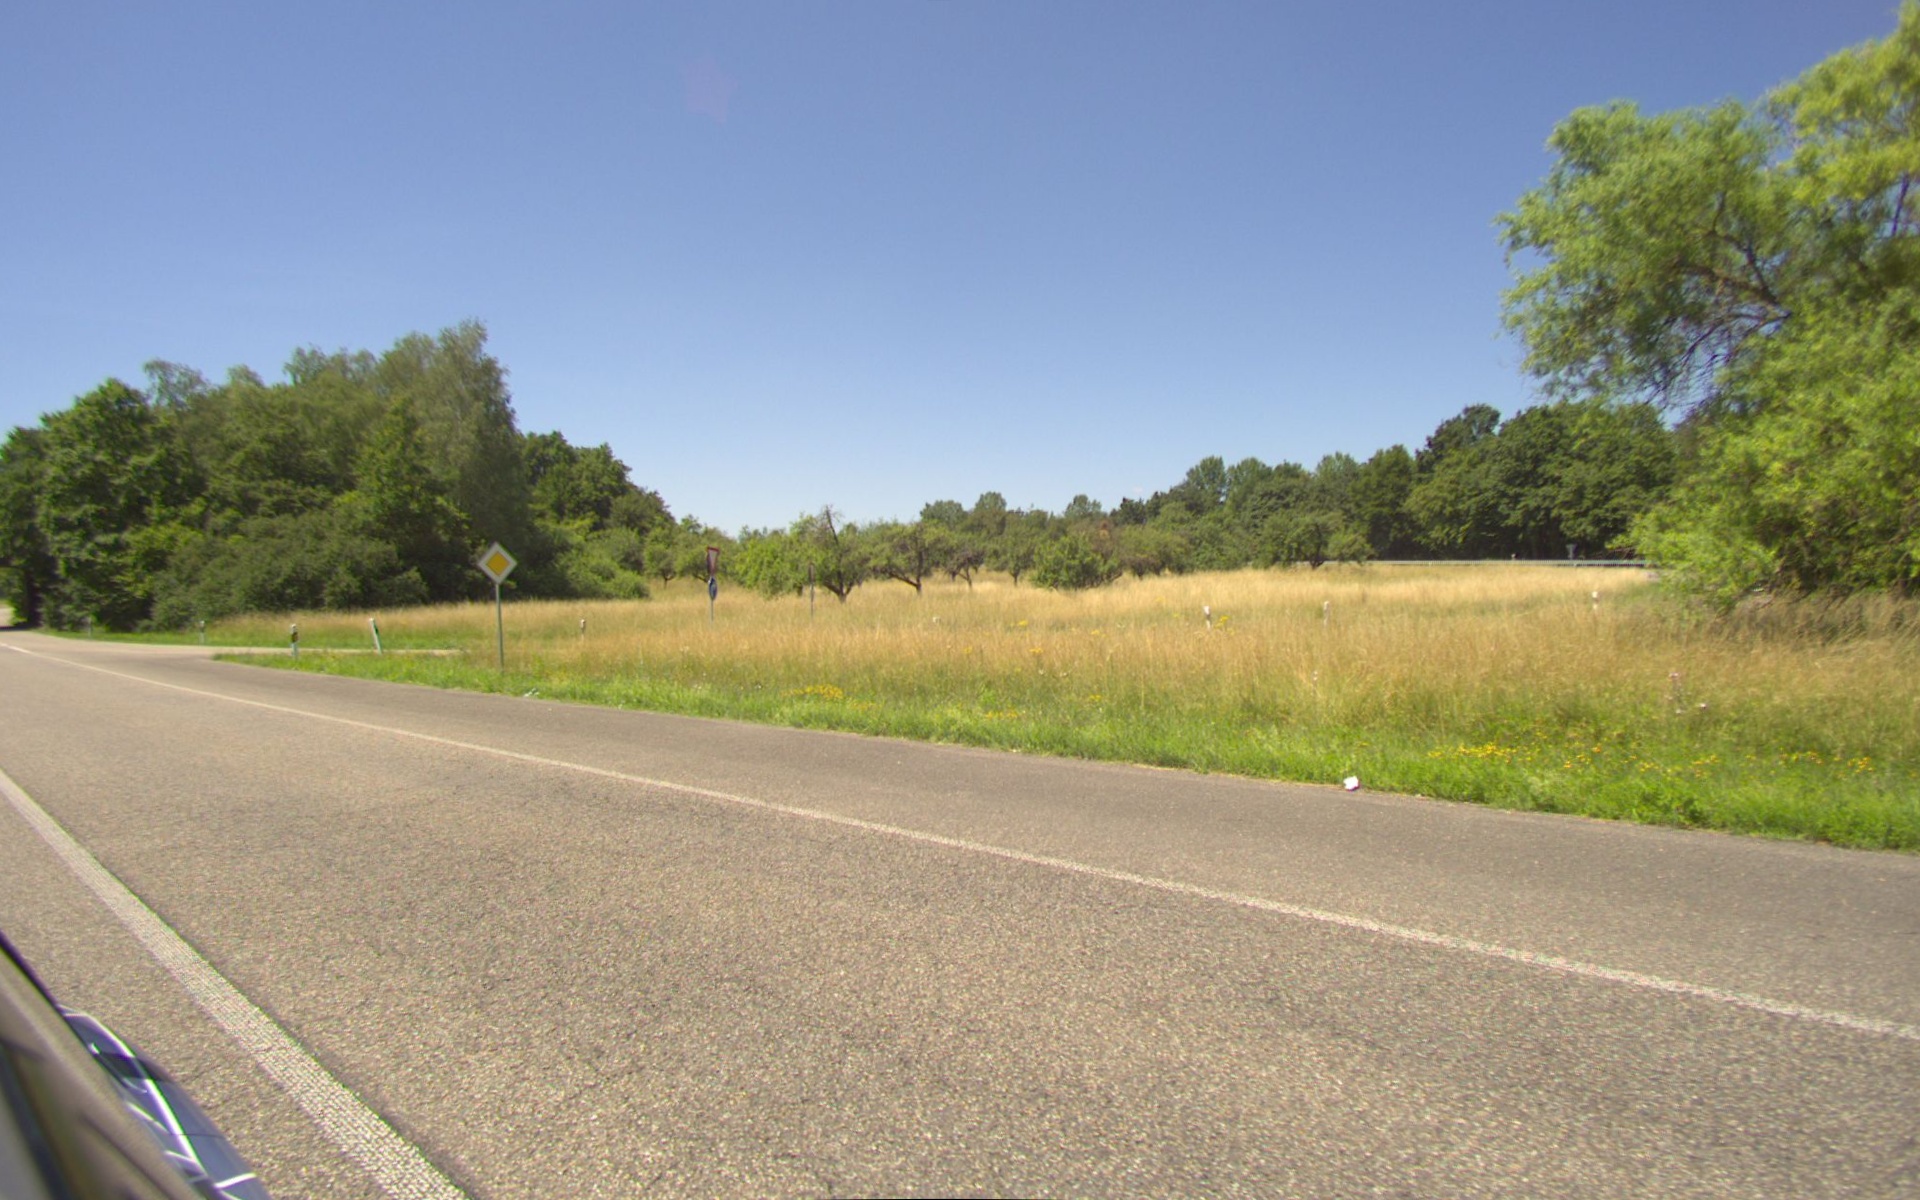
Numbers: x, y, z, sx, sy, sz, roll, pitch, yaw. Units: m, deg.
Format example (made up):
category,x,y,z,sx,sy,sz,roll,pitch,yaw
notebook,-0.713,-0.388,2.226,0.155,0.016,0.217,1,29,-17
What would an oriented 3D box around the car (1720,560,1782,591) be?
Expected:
category,x,y,z,sx,sy,sz,roll,pitch,yaw
car,41.275,-1.252,52.786,3.936,1.478,1.667,0,-1,-39
